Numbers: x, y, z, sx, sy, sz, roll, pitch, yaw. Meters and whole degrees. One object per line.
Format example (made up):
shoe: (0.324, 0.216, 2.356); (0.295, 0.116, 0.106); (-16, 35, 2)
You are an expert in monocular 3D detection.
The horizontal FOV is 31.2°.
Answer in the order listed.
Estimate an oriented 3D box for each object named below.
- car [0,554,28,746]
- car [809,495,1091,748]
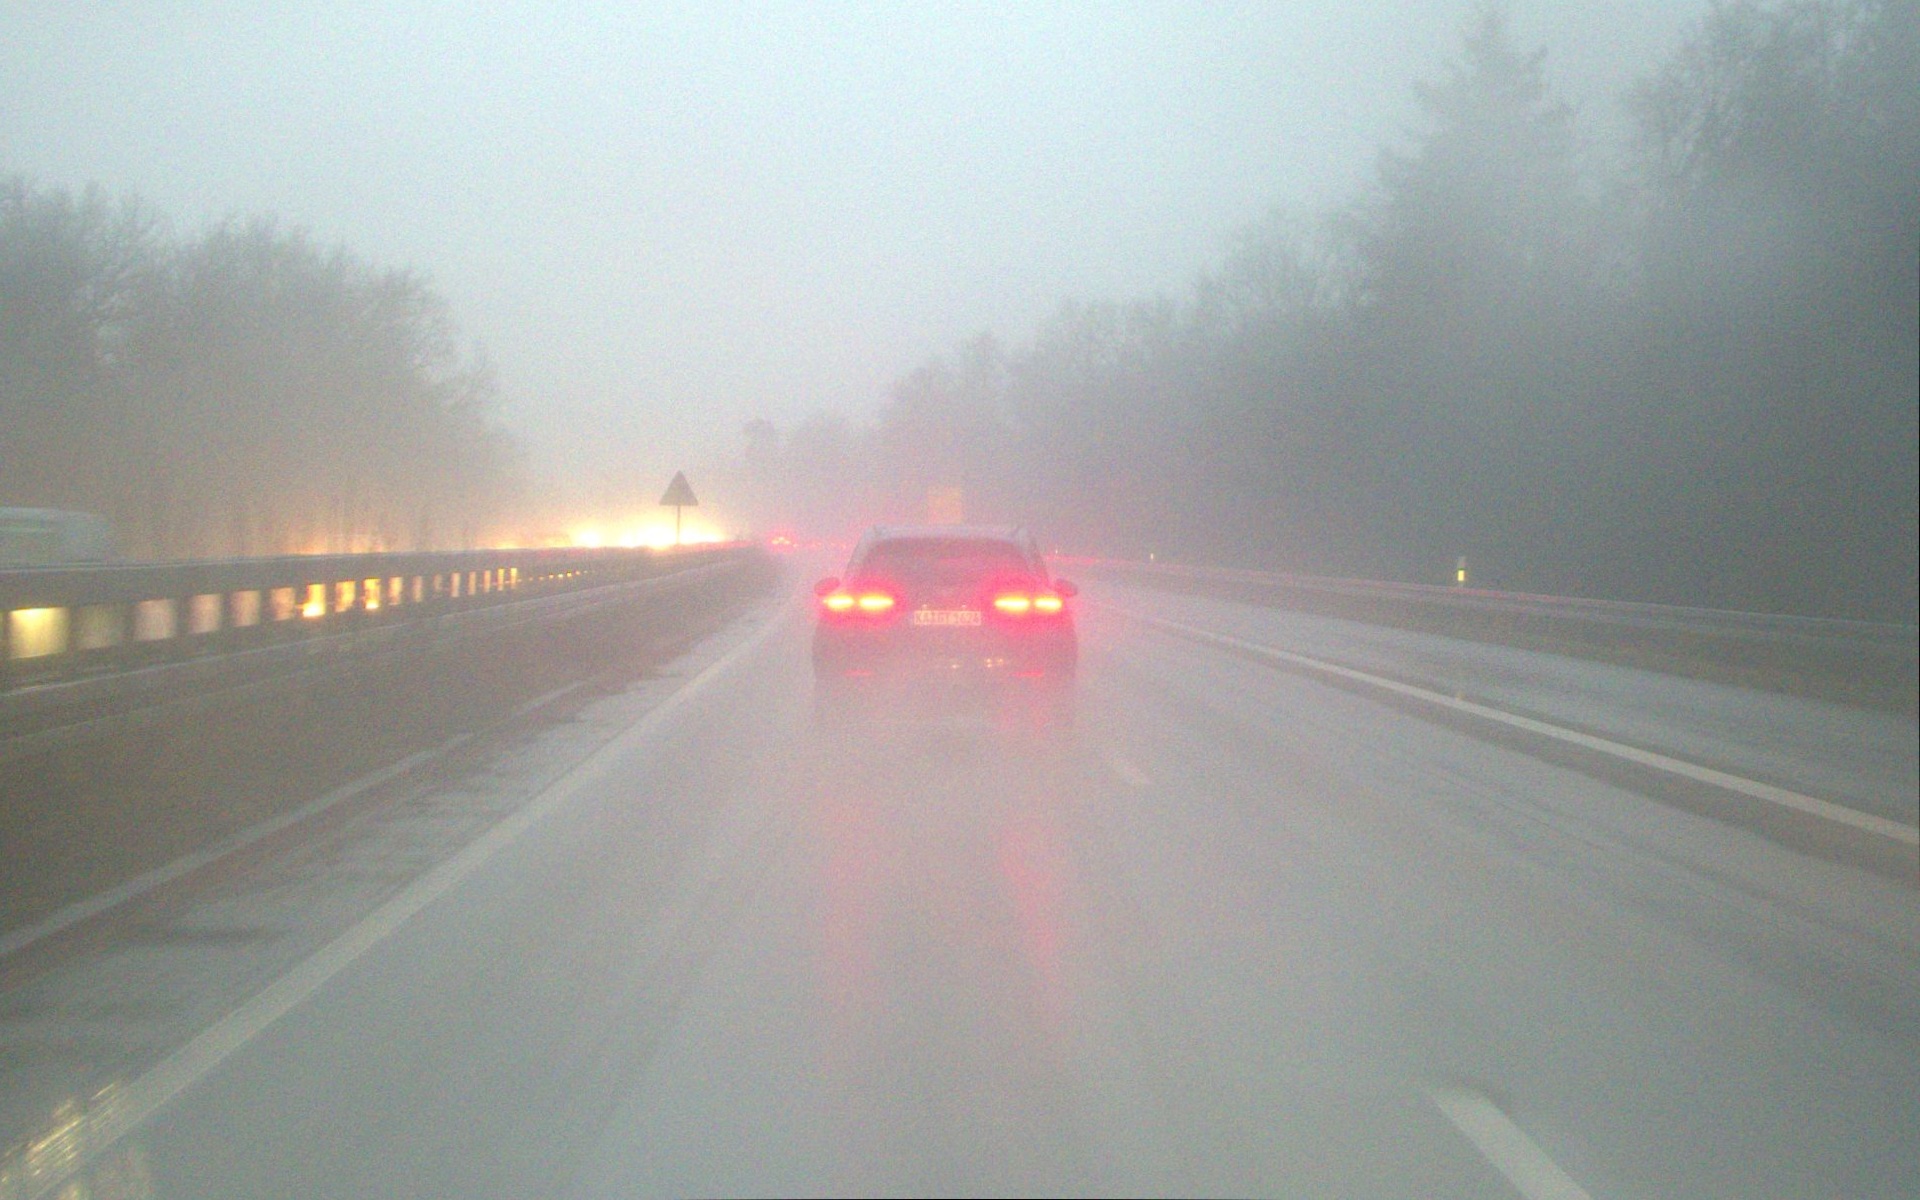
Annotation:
car: (-8.677, 0.413, 26.679); (1.679, 1.573, 4.422); (1, 1, 0)
car: (-0.156, 0.137, 26.562); (1.924, 1.785, 3.941); (1, 1, -4)
